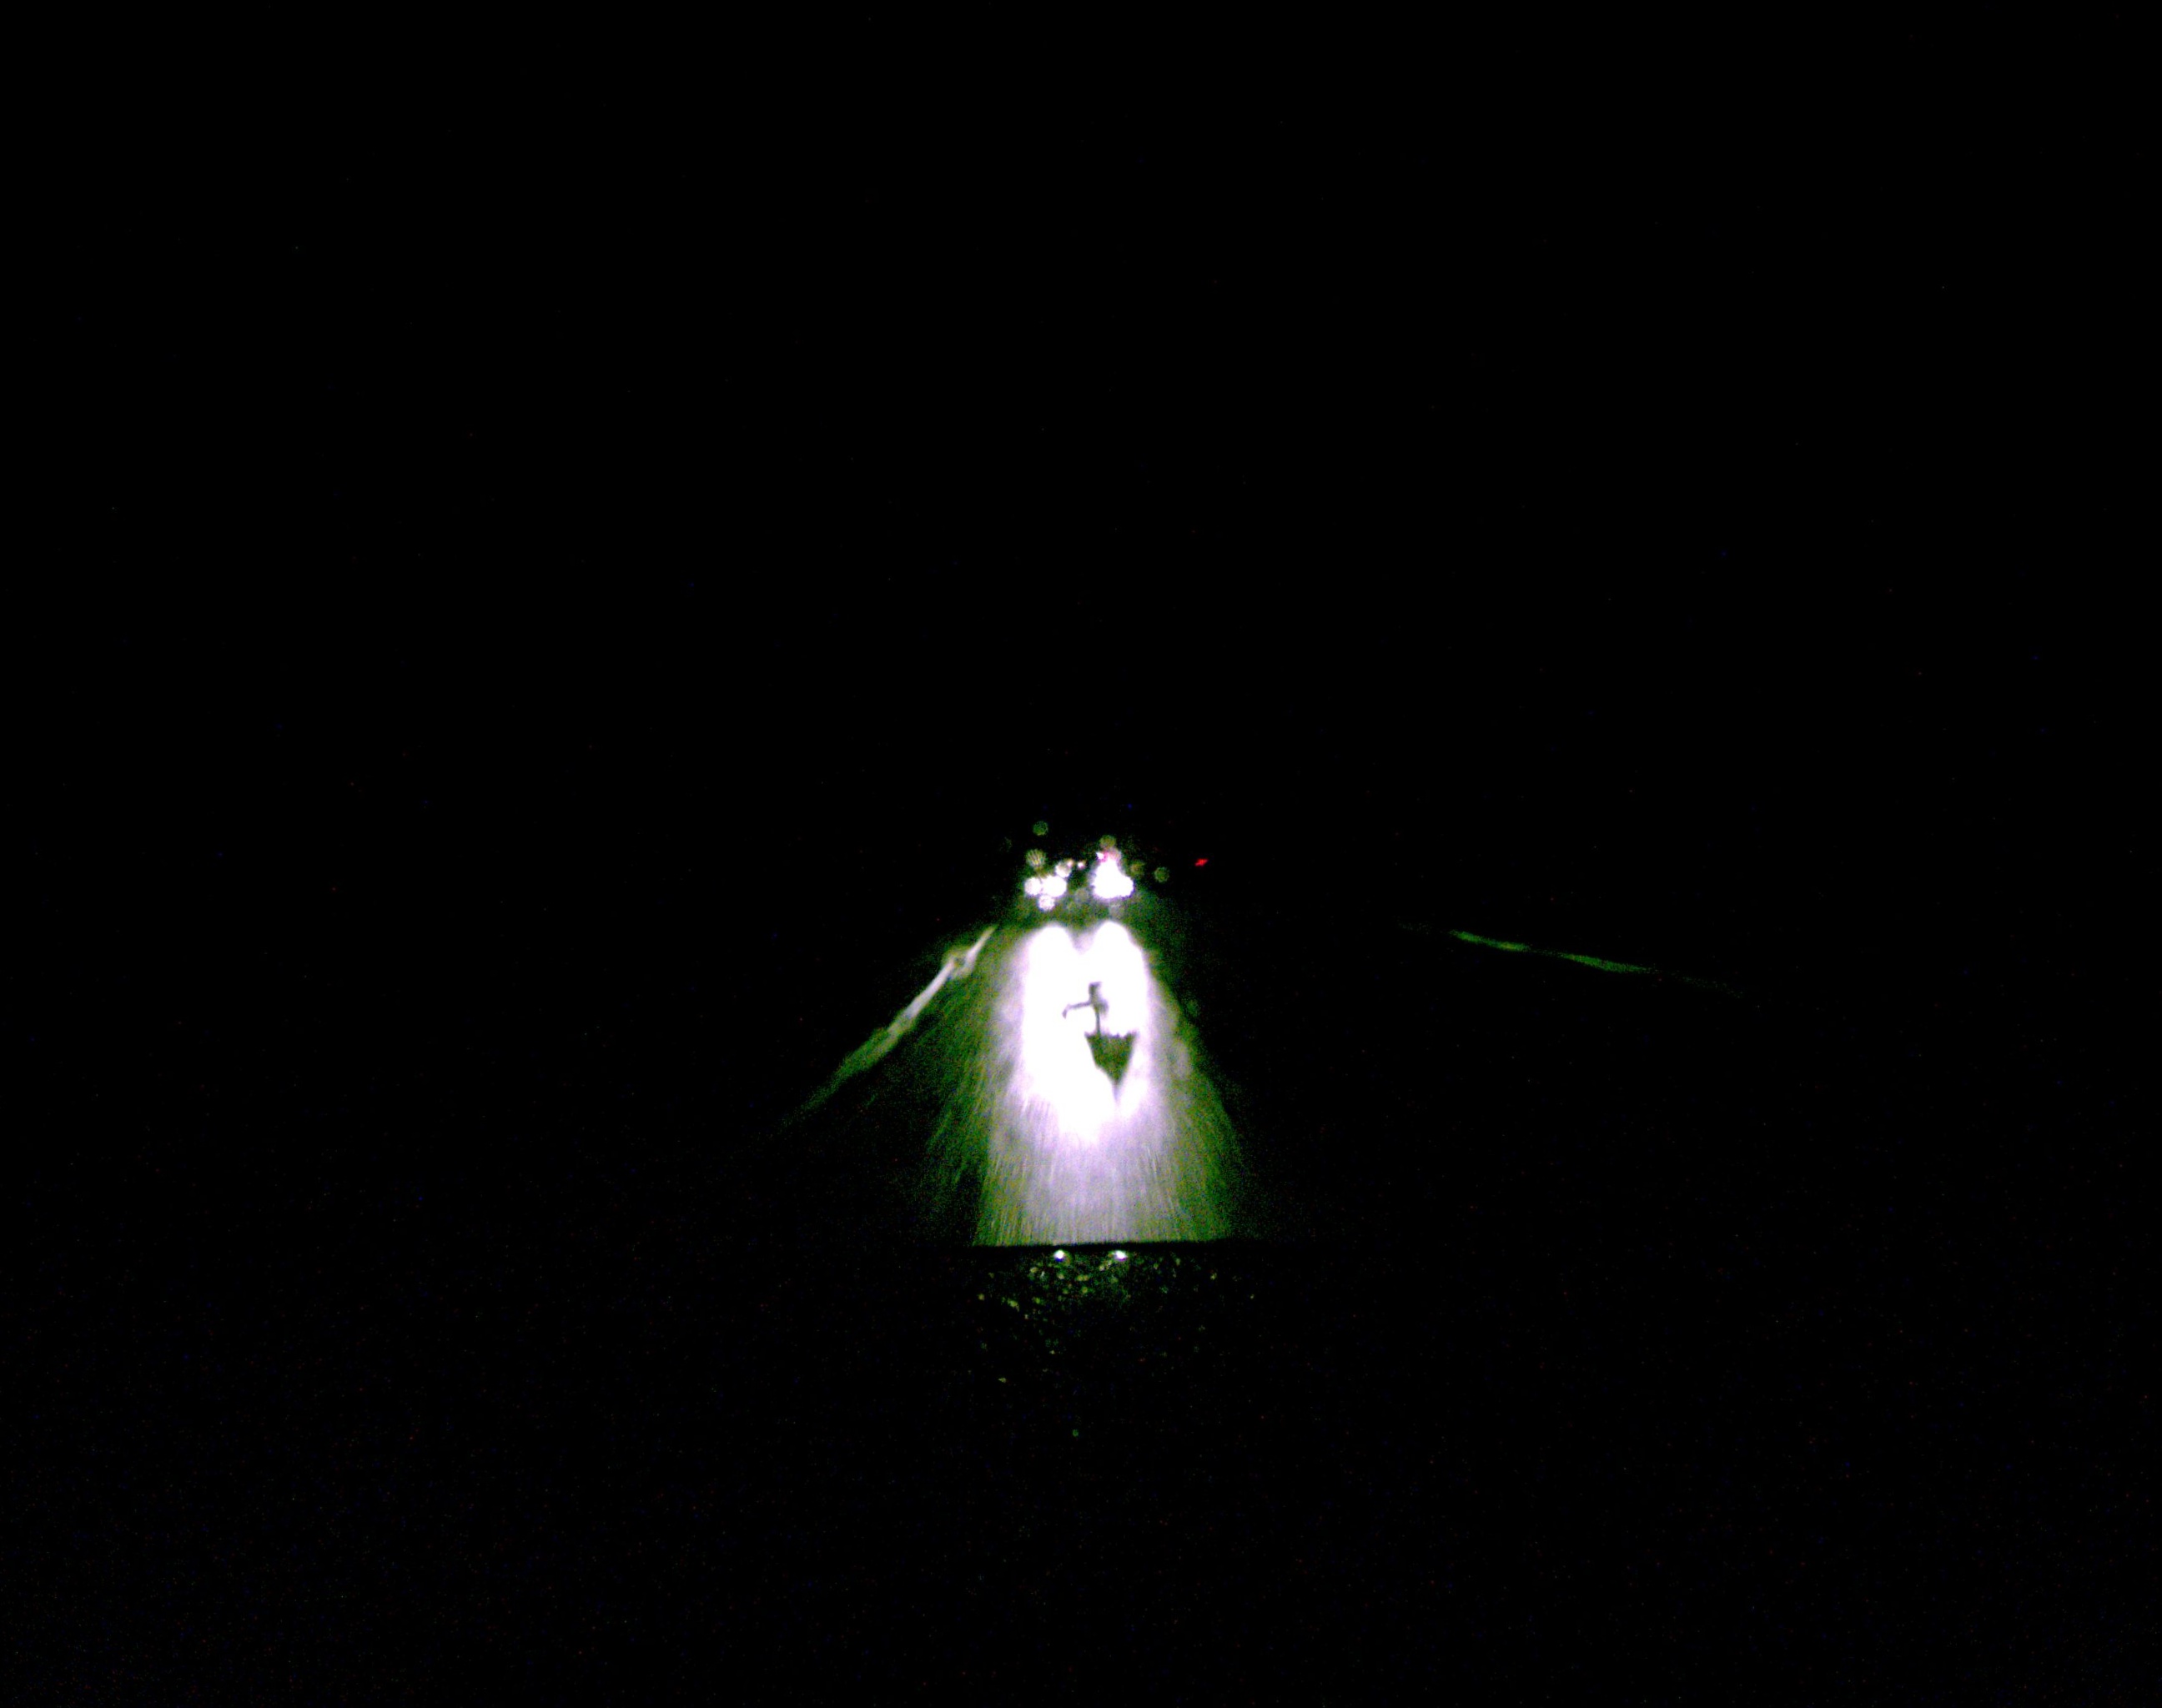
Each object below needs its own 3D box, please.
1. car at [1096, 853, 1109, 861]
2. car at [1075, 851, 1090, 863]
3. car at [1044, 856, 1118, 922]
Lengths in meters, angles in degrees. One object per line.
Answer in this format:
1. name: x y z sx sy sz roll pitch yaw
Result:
1. car: 3.963 0.562 140.271 1.909 1.461 4.273 -3 0 -2
2. car: 0.264 0.376 99.757 1.846 1.565 4.000 -2 1 1
3. car: 0.043 0.897 21.344 1.846 1.565 4.000 -2 1 1
